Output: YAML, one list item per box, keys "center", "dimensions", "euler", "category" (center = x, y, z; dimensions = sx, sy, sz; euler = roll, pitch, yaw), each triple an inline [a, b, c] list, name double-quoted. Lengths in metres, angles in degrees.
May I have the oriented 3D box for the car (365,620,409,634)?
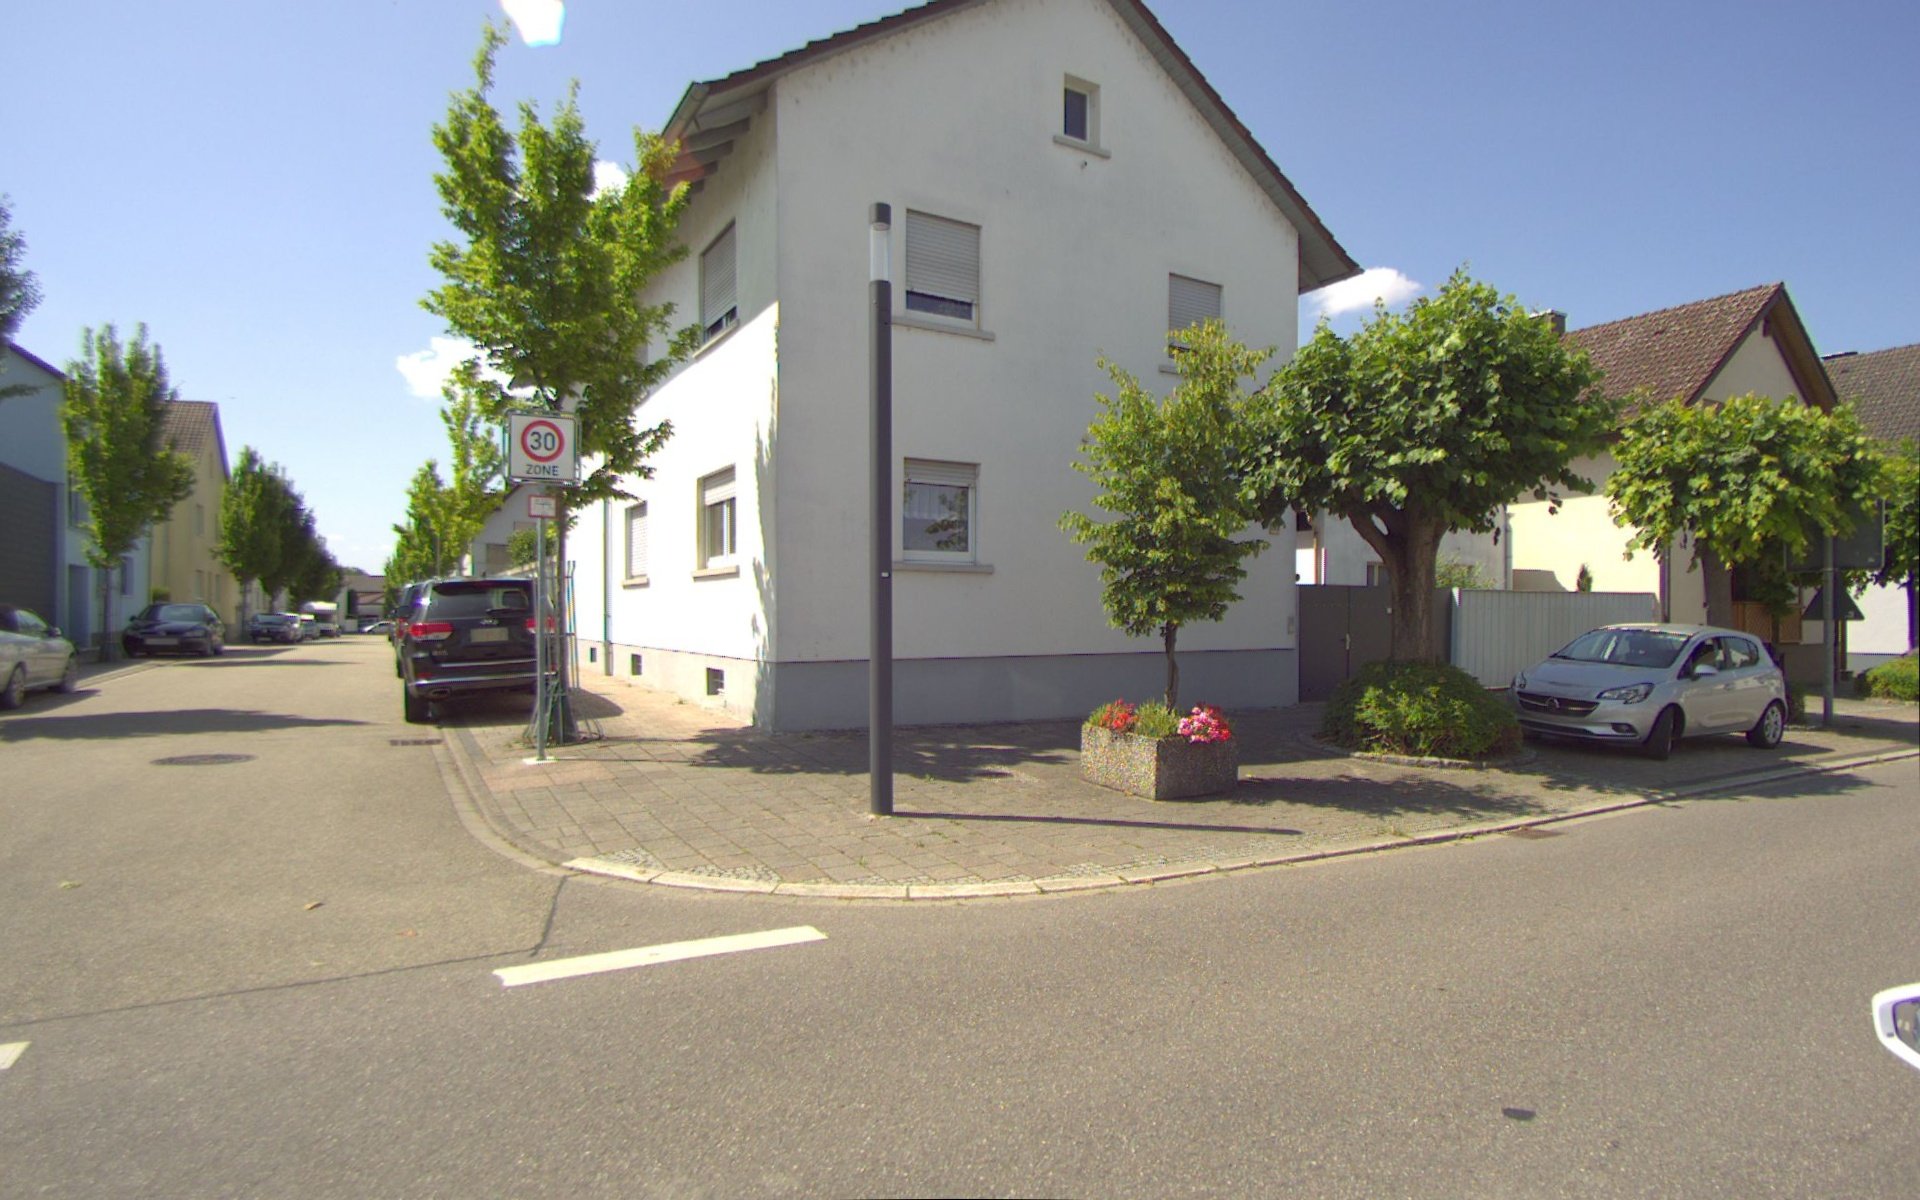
- center: [-66.666, 3.125, 116.921]
  dimensions: [4.385, 1.532, 1.985]
  euler: [0, 0, -29]
  category: "car"

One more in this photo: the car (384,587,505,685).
- center: [-10.648, 0.644, 20.578]
  dimensions: [1.976, 1.763, 4.403]
  euler: [-1, 1, -30]
  category: "car"

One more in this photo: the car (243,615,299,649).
- center: [-31.809, 1.448, 46.447]
  dimensions: [1.846, 1.482, 4.402]
  euler: [1, -1, -31]
  category: "car"

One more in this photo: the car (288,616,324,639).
- center: [-44.292, 1.865, 68.095]
  dimensions: [1.846, 1.481, 4.402]
  euler: [4, -3, -31]
  category: "car"

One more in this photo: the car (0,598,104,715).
- center: [-13.918, 0.724, 14.291]
  dimensions: [1.845, 1.482, 4.403]
  euler: [1, -1, -30]
  category: "car"

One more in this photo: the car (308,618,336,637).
- center: [-54.209, 2.319, 85.371]
  dimensions: [1.846, 1.481, 4.402]
  euler: [4, -3, -31]
  category: "car"

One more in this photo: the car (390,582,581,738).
- center: [-6.603, 0.659, 13.687]
  dimensions: [1.976, 1.739, 4.403]
  euler: [-1, 1, -30]
  category: "car"

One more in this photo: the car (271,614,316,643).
- center: [-37.119, 1.598, 56.027]
  dimensions: [1.846, 1.481, 4.402]
  euler: [4, -3, -31]
  category: "car"

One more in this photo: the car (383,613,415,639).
- center: [-41.614, 1.906, 74.508]
  dimensions: [1.976, 1.763, 4.403]
  euler: [-1, 1, -30]
  category: "car"

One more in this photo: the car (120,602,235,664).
- center: [-21.016, 0.884, 27.142]
  dimensions: [1.846, 1.481, 4.402]
  euler: [4, -3, -31]
  category: "car"

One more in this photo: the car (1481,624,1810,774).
- center: [8.558, 1.106, 12.480]
  dimensions: [4.085, 1.503, 1.815]
  euler: [1, 1, -31]
  category: "car"

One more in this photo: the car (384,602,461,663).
- center: [-17.210, 0.966, 32.063]
  dimensions: [1.976, 1.763, 4.403]
  euler: [-1, 1, -30]
  category: "car"
